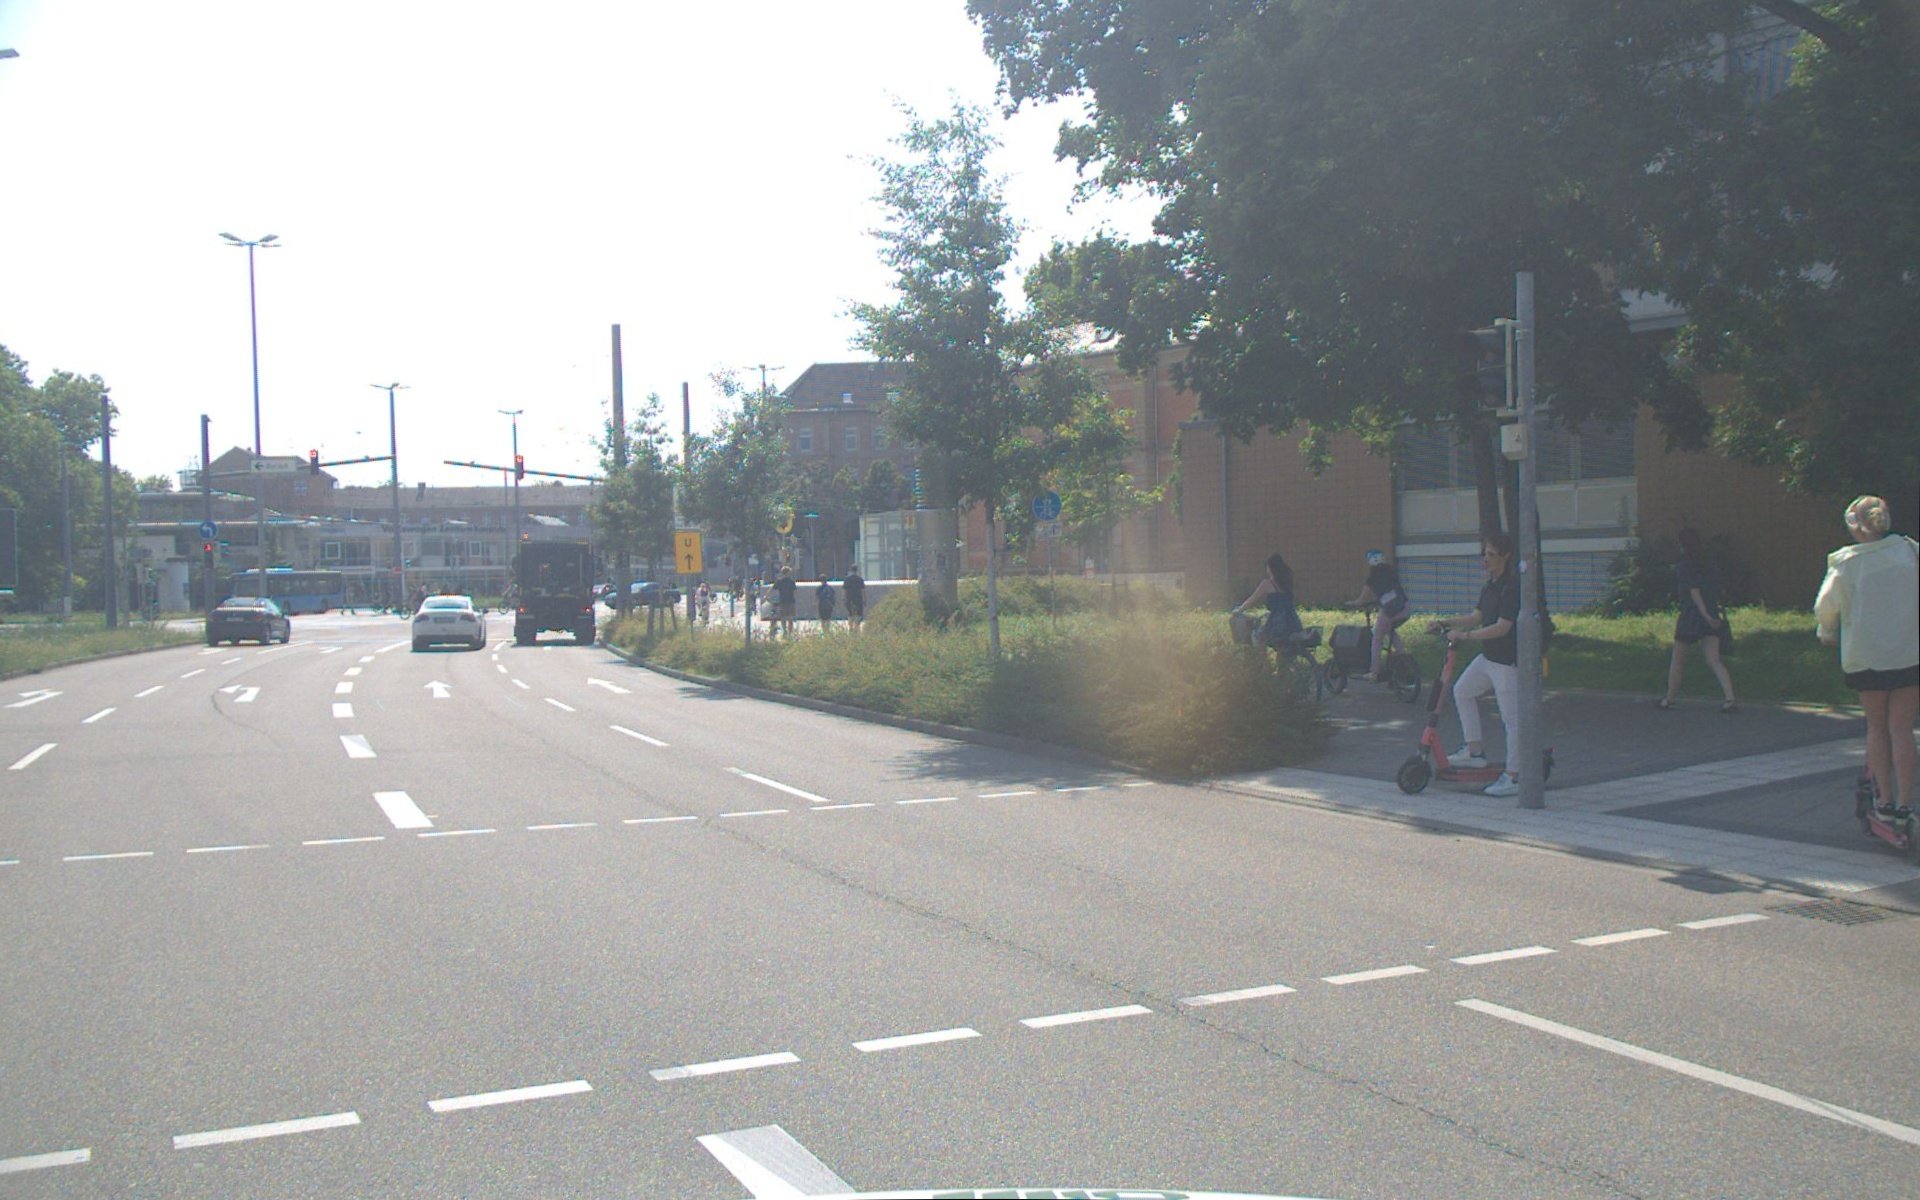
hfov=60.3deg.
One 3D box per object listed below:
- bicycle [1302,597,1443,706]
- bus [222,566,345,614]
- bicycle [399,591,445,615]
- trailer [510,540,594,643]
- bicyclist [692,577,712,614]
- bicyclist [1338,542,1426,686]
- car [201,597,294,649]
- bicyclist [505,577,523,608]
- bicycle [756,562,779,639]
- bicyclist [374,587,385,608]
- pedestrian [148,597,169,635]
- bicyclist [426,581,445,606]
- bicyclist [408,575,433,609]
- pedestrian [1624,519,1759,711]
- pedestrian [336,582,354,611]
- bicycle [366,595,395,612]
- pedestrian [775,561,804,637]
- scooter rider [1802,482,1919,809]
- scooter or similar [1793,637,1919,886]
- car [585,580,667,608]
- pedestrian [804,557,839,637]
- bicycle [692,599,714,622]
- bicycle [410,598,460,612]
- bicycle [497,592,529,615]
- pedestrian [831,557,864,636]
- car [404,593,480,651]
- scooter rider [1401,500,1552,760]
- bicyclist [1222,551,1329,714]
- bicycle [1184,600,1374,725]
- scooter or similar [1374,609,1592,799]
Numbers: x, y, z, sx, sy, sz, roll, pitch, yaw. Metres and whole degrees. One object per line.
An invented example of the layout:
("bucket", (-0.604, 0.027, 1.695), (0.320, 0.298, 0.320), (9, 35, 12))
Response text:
("bicycle", (4.595, 0.547, 18.565), (0.548, 1.078, 1.994), (-3, 2, -18))
("bus", (-45.130, -0.759, 110.855), (2.990, 2.982, 11.856), (-1, 1, 2))
("bicycle", (-27.233, 0.150, 83.677), (2.782, 1.199, 0.969), (-1, 1, 43))
("trailer", (-12.877, -0.292, 52.350), (2.421, 3.060, 6.304), (0, 1, -13))
("bicyclist", (-9.605, -0.164, 61.649), (0.663, 1.343, 0.681), (-2, 1, -12))
("bicyclist", (4.660, 0.141, 18.290), (0.540, 1.522, 0.799), (-4, 2, -18))
("car", (-21.434, 0.654, 49.890), (1.726, 1.429, 3.971), (-1, 1, -10))
("bicyclist", (-24.358, -0.403, 90.277), (0.676, 1.678, 0.620), (-1, 1, 16))
("bicycle", (-4.860, 0.007, 41.740), (0.446, 1.892, 1.362), (-1, 1, -3))
("bicyclist", (-35.409, -0.152, 100.902), (0.493, 1.209, 0.507), (-1, 1, 2))
("pedestrian", (-28.322, 0.569, 58.428), (0.590, 1.290, 0.499), (-2, 3, -33))
("bicyclist", (-33.243, -0.414, 104.835), (0.895, 1.527, 0.855), (-2, 1, -33))
("bicyclist", (-27.290, -0.400, 83.716), (0.651, 1.682, 0.969), (-1, 1, 42))
("pedestrian", (6.937, 0.130, 15.698), (0.697, 1.734, 0.872), (-4, 2, -26))
("pedestrian", (-38.298, -0.234, 102.942), (0.767, 1.782, 0.809), (-1, 1, 0))
("bicycle", (-35.357, 0.224, 100.902), (1.558, 1.002, 0.507), (-1, 1, 1))
("pedestrian", (-4.328, -0.028, 42.027), (0.647, 1.892, 0.793), (-2, 1, -3))
("scooter rider", (5.021, 0.230, 9.035), (0.656, 1.729, 0.539), (0, 3, 18))
("scooter or similar", (5.028, 0.811, 9.006), (0.544, 1.078, 2.006), (-1, 2, 17))
("car", (-19.621, -0.353, 97.298), (1.960, 1.463, 4.547), (-1, 1, 36))
("pedestrian", (-3.510, -0.084, 41.994), (0.762, 2.007, 0.753), (-1, 1, 0))
("bicycle", (-9.599, 0.376, 61.695), (0.663, 0.790, 2.121), (-2, 1, -12))
("bicycle", (-33.265, 0.306, 104.824), (2.909, 0.740, 0.855), (-2, 1, -34))
("bicycle", (-24.369, 0.194, 90.214), (0.681, 1.156, 2.045), (-1, 1, 16))
("pedestrian", (-2.909, -0.095, 42.785), (0.762, 2.007, 0.753), (-1, 1, 0))
("car", (-14.457, 0.577, 46.368), (1.728, 1.480, 4.410), (-1, 1, -14))
("scooter rider", (3.675, 0.203, 11.815), (0.786, 1.769, 0.688), (-2, 1, -3))
("bicyclist", (3.319, 0.330, 17.434), (0.682, 1.626, 0.837), (-4, 2, -25))
("bicycle", (3.316, 0.613, 17.482), (0.685, 1.175, 2.352), (-4, 2, -25))
("scooter or similar", (3.739, 0.731, 11.878), (1.336, 1.256, 0.585), (-2, 1, -3))
